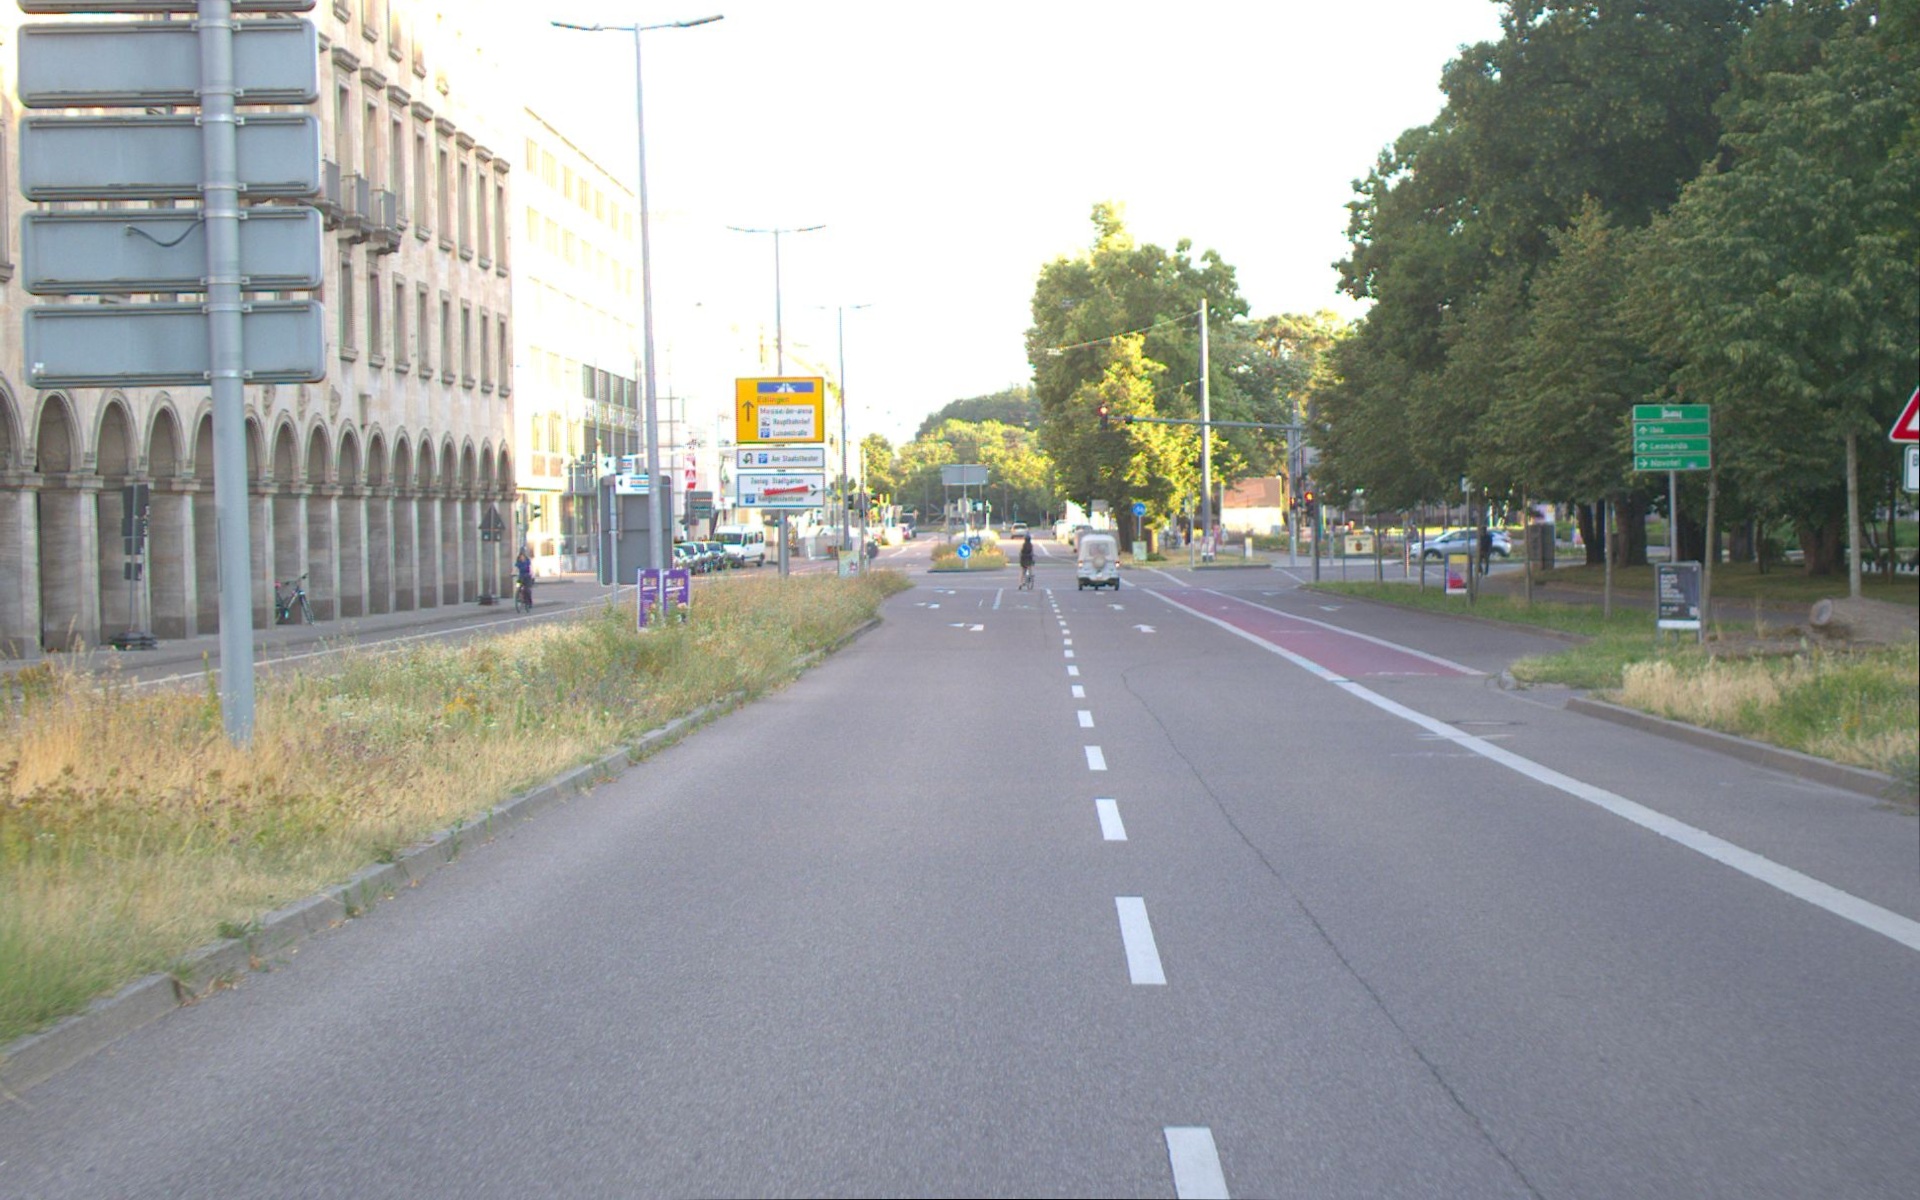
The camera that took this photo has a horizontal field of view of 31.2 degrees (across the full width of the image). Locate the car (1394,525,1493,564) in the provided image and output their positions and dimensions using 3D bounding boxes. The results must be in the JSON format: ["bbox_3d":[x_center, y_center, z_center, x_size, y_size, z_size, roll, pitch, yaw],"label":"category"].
[{"bbox_3d":[20.461,-2.335,145.643,3.987,1.568,2.000,-1,1,4],"label":"car"}]

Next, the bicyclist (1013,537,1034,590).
[{"bbox_3d":[2.028,-1.158,109.722,0.628,1.687,0.748,-1,1,0],"label":"bicyclist"}]

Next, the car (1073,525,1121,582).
[{"bbox_3d":[4.363,-1.482,109.399,1.459,1.774,2.564,-1,1,3],"label":"car"}]

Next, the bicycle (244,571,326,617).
[{"bbox_3d":[-15.317,-0.143,78.079,0.478,1.002,2.001,0,1,37],"label":"bicycle"}]

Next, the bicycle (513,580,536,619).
[{"bbox_3d":[-12.133,-0.020,95.783,0.541,1.002,2.006,-1,3,-9],"label":"bicycle"}]

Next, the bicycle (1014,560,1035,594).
[{"bbox_3d":[2.051,-0.731,109.611,0.637,1.065,2.069,0,1,1],"label":"bicycle"}]

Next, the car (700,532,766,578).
[{"bbox_3d":[-13.101,-2.580,199.143,2.178,2.377,5.986,-2,-1,12],"label":"car"}]

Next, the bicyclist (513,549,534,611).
[{"bbox_3d":[-12.175,-0.559,95.904,0.536,1.687,0.749,-1,1,-9],"label":"bicyclist"}]
